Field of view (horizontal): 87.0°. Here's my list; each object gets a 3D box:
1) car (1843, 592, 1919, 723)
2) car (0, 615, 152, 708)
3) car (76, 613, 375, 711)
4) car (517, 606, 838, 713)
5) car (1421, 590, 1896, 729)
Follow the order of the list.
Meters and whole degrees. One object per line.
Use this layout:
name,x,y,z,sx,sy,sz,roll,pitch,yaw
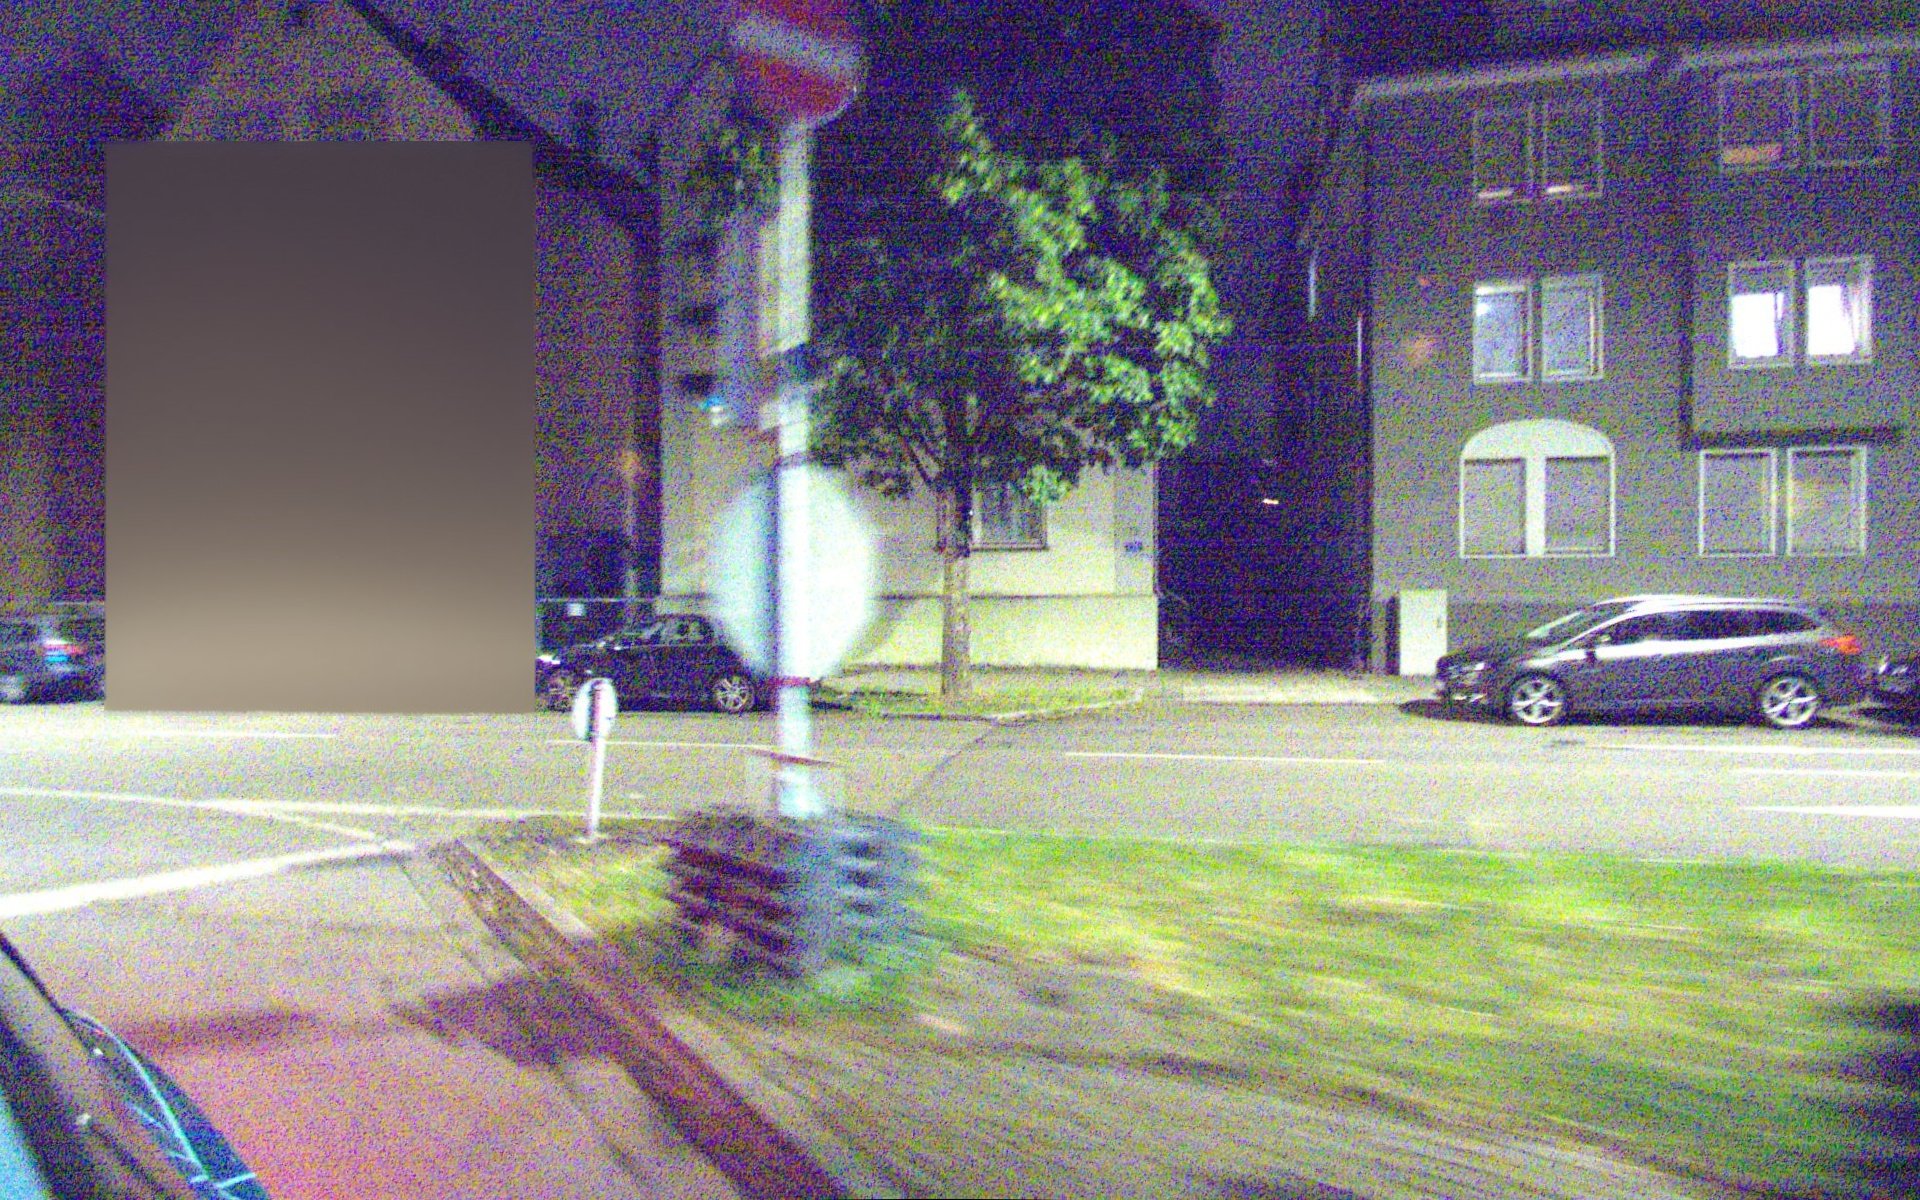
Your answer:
car,13.132,0.641,11.411,4.398,1.444,1.860,-1,2,13
car,-17.019,1.068,18.072,4.304,1.444,1.638,-1,2,12
car,-12.292,0.998,17.009,4.302,1.444,1.551,-1,2,12
car,-4.238,0.867,15.466,4.355,1.444,1.861,-1,1,10
car,8.328,0.672,12.539,4.427,1.490,1.860,-1,1,13
